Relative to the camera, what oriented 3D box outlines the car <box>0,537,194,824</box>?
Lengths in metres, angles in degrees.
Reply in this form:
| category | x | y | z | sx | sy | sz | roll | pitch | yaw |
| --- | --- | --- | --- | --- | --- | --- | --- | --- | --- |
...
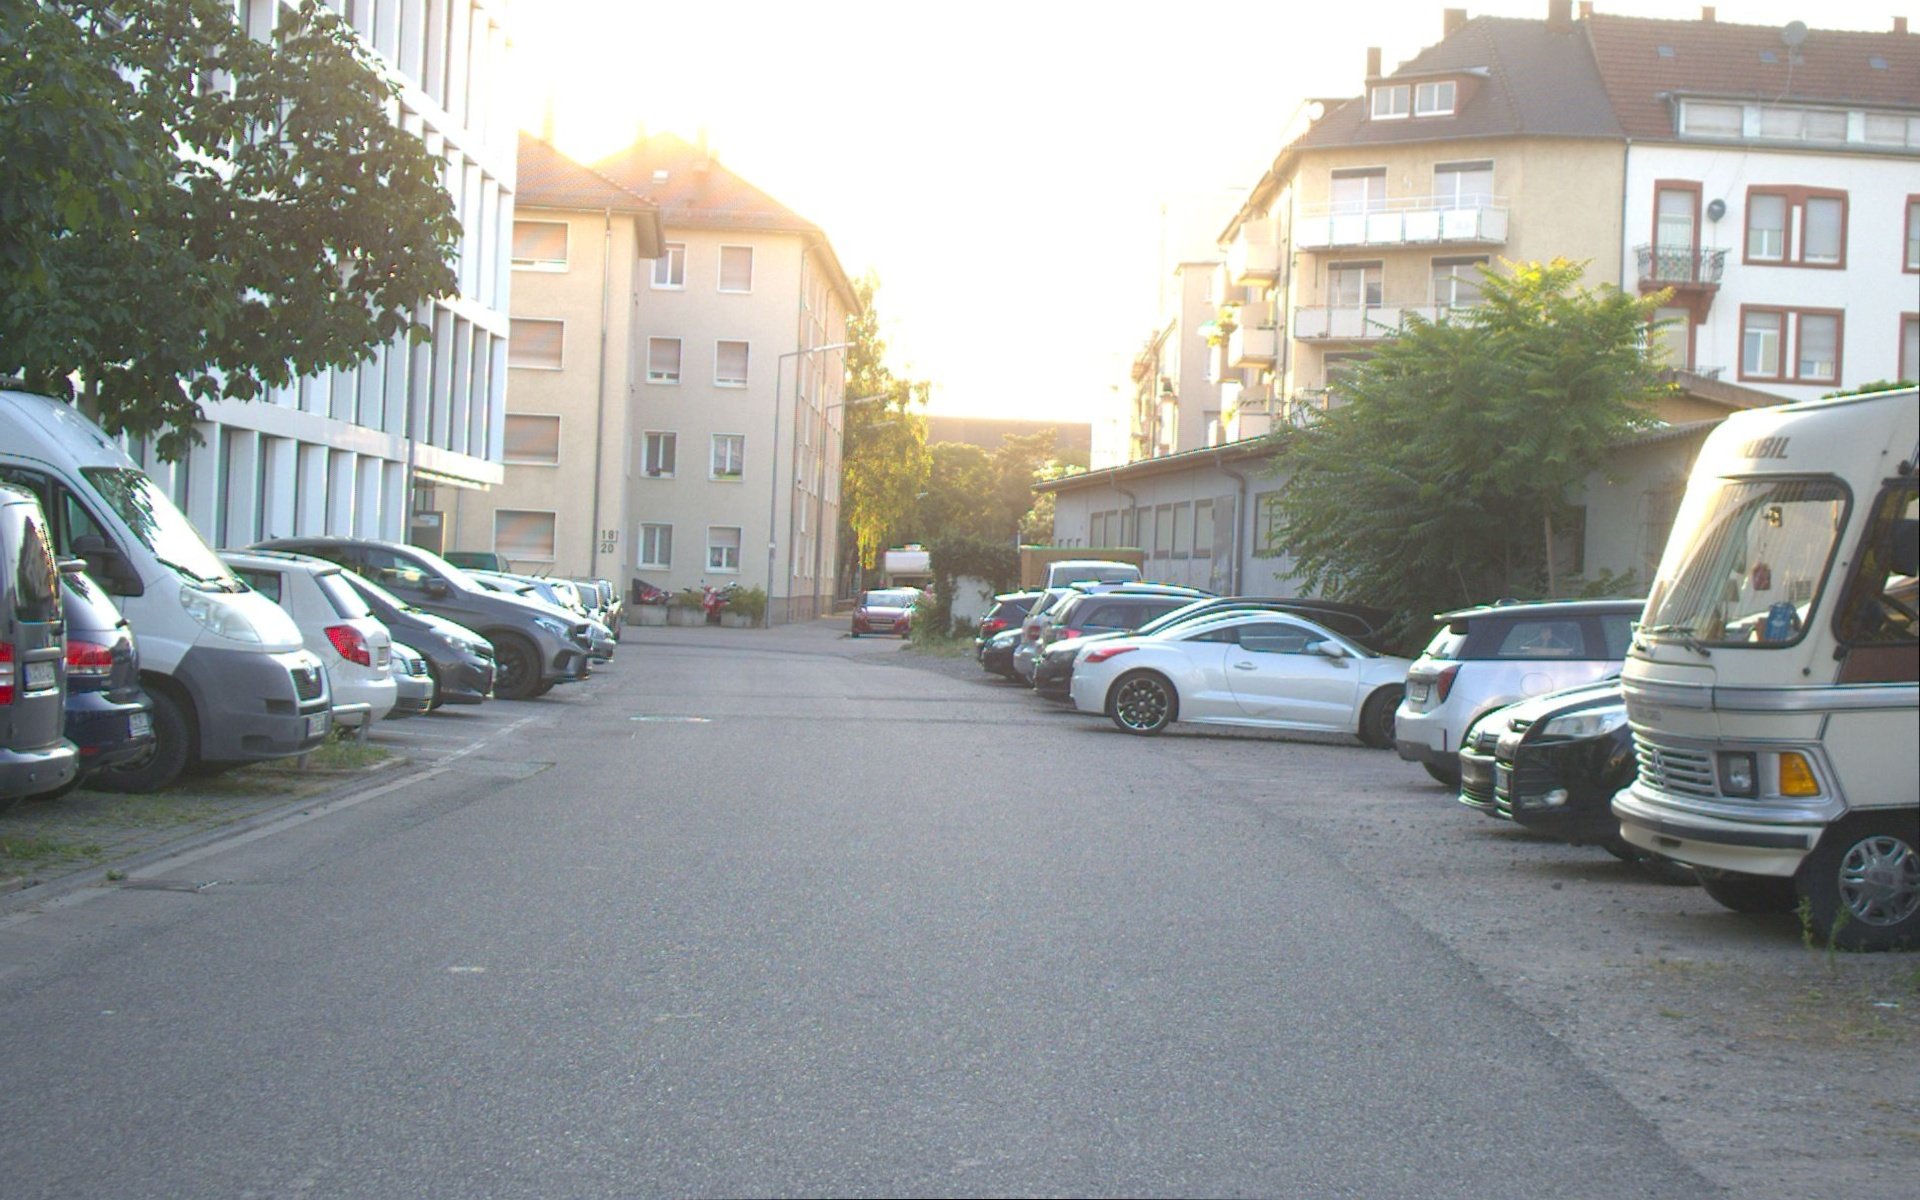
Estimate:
| category | x | y | z | sx | sy | sz | roll | pitch | yaw |
| --- | --- | --- | --- | --- | --- | --- | --- | --- | --- |
| car | -6.563 | 0.334 | 19.372 | 4.107 | 1.494 | 1.775 | 3 | 1 | -5 |

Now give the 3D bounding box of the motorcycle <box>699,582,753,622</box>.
| category | x | y | z | sx | sy | sz | roll | pitch | yaw |
| --- | --- | --- | --- | --- | --- | --- | --- | --- | --- |
| motorcycle | -7.158 | 0.058 | 105.189 | 0.689 | 1.156 | 2.031 | 2 | 0 | 25 |

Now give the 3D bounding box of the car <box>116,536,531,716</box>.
| category | x | y | z | sx | sy | sz | roll | pitch | yaw |
| --- | --- | --- | --- | --- | --- | --- | --- | --- | --- |
| car | -6.282 | 0.243 | 34.232 | 3.781 | 1.517 | 1.694 | 3 | 1 | -2 |

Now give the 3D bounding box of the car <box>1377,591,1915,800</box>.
| category | x | y | z | sx | sy | sz | roll | pitch | yaw |
| --- | --- | --- | --- | --- | --- | --- | --- | --- | --- |
| car | 5.221 | 0.715 | 26.451 | 3.704 | 1.474 | 1.712 | 1 | 0 | -4 |

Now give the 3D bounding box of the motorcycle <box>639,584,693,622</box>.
| category | x | y | z | sx | sy | sz | roll | pitch | yaw |
| --- | --- | --- | --- | --- | --- | --- | --- | --- | --- |
| motorcycle | -8.774 | 0.082 | 102.660 | 0.724 | 1.075 | 2.078 | 2 | 0 | 21 |

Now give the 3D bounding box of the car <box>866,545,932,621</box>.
| category | x | y | z | sx | sy | sz | roll | pitch | yaw |
| --- | --- | --- | --- | --- | --- | --- | --- | --- | --- |
| car | -2.657 | -0.740 | 152.684 | 2.620 | 3.258 | 7.696 | 1 | 0 | 1 |

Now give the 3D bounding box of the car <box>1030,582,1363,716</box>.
| category | x | y | z | sx | sy | sz | roll | pitch | yaw |
| --- | --- | --- | --- | --- | --- | --- | --- | --- | --- |
| car | 2.964 | 0.624 | 43.664 | 3.983 | 1.440 | 1.827 | 3 | -1 | -2 |

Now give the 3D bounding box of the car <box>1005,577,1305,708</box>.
| category | x | y | z | sx | sy | sz | roll | pitch | yaw |
| --- | --- | --- | --- | --- | --- | --- | --- | --- | --- |
| car | 2.739 | 0.590 | 48.941 | 3.983 | 1.604 | 1.939 | 3 | 0 | -4 |

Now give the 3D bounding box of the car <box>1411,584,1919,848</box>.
| category | x | y | z | sx | sy | sz | roll | pitch | yaw |
| --- | --- | --- | --- | --- | --- | --- | --- | --- | --- |
| car | 5.073 | 0.727 | 22.005 | 4.003 | 1.558 | 1.712 | 1 | 0 | -6 |

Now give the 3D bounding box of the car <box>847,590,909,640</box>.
| category | x | y | z | sx | sy | sz | roll | pitch | yaw |
| --- | --- | --- | --- | --- | --- | --- | --- | --- | --- |
| car | -2.542 | 0.448 | 107.120 | 1.845 | 1.468 | 4.078 | 2 | 0 | -1 |

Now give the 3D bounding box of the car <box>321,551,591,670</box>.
| category | x | y | z | sx | sy | sz | roll | pitch | yaw |
| --- | --- | --- | --- | --- | --- | --- | --- | --- | --- |
| car | -7.393 | 0.146 | 50.692 | 3.654 | 1.506 | 1.687 | 3 | 1 | 0 |

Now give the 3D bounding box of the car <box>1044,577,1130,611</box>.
| category | x | y | z | sx | sy | sz | roll | pitch | yaw |
| --- | --- | --- | --- | --- | --- | --- | --- | --- | --- |
| car | 5.974 | -0.297 | 162.565 | 3.987 | 1.525 | 1.659 | 1 | 0 | 0 |

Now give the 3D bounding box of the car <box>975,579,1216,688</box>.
| category | x | y | z | sx | sy | sz | roll | pitch | yaw |
| --- | --- | --- | --- | --- | --- | --- | --- | --- | --- |
| car | 2.180 | 0.531 | 56.198 | 3.759 | 1.530 | 1.891 | 3 | 1 | -1 |

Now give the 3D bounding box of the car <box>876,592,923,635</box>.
| category | x | y | z | sx | sy | sz | roll | pitch | yaw |
| --- | --- | --- | --- | --- | --- | --- | --- | --- | --- |
| car | -2.123 | 0.462 | 120.508 | 1.615 | 1.468 | 3.505 | 1 | 0 | -1 |

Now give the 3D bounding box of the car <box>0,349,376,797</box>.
| category | x | y | z | sx | sy | sz | roll | pitch | yaw |
| --- | --- | --- | --- | --- | --- | --- | --- | --- | --- |
| car | -6.690 | -0.278 | 22.051 | 5.381 | 2.624 | 2.078 | 3 | 1 | 1 |

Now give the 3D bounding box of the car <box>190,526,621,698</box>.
| category | x | y | z | sx | sy | sz | roll | pitch | yaw |
| --- | --- | --- | --- | --- | --- | --- | --- | --- | --- |
| car | -6.483 | 0.125 | 40.547 | 4.619 | 1.700 | 2.004 | 3 | 1 | 3 |

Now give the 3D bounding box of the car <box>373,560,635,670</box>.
| category | x | y | z | sx | sy | sz | roll | pitch | yaw |
| --- | --- | --- | --- | --- | --- | --- | --- | --- | --- |
| car | -7.333 | 0.231 | 55.555 | 3.926 | 1.506 | 1.687 | 3 | 1 | 0 |

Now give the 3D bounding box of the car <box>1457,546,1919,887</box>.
| category | x | y | z | sx | sy | sz | roll | pitch | yaw |
| --- | --- | --- | --- | --- | --- | --- | --- | --- | --- |
| car | 5.002 | 0.633 | 18.963 | 4.241 | 1.735 | 1.967 | 1 | 0 | 1 |

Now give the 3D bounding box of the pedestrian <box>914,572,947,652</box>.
| category | x | y | z | sx | sy | sz | roll | pitch | yaw |
| --- | --- | --- | --- | --- | --- | --- | --- | --- | --- |
| pedestrian | -0.750 | 0.308 | 87.321 | 0.555 | 2.007 | 0.575 | 2 | 0 | -31 |

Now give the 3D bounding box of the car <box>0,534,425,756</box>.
| category | x | y | z | sx | sy | sz | roll | pitch | yaw |
| --- | --- | --- | --- | --- | --- | --- | --- | --- | --- |
| car | -6.204 | 0.320 | 26.874 | 3.708 | 1.490 | 1.708 | 3 | 1 | -1 |

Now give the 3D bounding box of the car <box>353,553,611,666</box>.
| category | x | y | z | sx | sy | sz | roll | pitch | yaw |
| --- | --- | --- | --- | --- | --- | --- | --- | --- | --- |
| car | -7.337 | 0.132 | 52.996 | 3.654 | 1.506 | 1.687 | 3 | 1 | 0 |

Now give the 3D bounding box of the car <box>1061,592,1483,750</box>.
| category | x | y | z | sx | sy | sz | roll | pitch | yaw |
| --- | --- | --- | --- | --- | --- | --- | --- | --- | --- |
| car | 3.207 | 0.725 | 35.988 | 4.202 | 1.362 | 1.823 | 3 | 0 | 1 |

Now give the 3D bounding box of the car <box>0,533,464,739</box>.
| category | x | y | z | sx | sy | sz | roll | pitch | yaw |
| --- | --- | --- | --- | --- | --- | --- | --- | --- | --- |
| car | -6.598 | 0.280 | 29.614 | 4.308 | 1.490 | 1.795 | 3 | 1 | 1 |

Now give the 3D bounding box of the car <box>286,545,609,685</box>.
| category | x | y | z | sx | sy | sz | roll | pitch | yaw |
| --- | --- | --- | --- | --- | --- | --- | --- | --- | --- |
| car | -6.402 | 0.176 | 43.190 | 3.667 | 1.506 | 1.696 | 3 | 1 | 3 |

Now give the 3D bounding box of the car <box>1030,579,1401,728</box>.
| category | x | y | z | sx | sy | sz | roll | pitch | yaw |
| --- | --- | --- | --- | --- | --- | --- | --- | --- | --- |
| car | 3.019 | 0.638 | 41.230 | 4.202 | 1.498 | 1.890 | 3 | -1 | -1 |

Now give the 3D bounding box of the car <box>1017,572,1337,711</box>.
| category | x | y | z | sx | sy | sz | roll | pitch | yaw |
| --- | --- | --- | --- | --- | --- | --- | --- | --- | --- |
| car | 2.906 | 0.552 | 46.466 | 3.983 | 1.613 | 1.827 | 3 | 0 | -6 |

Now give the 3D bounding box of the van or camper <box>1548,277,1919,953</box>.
| category | x | y | z | sx | sy | sz | roll | pitch | yaw |
| --- | --- | --- | --- | --- | --- | --- | --- | --- | --- |
| van or camper | 5.915 | 0.116 | 16.023 | 5.779 | 2.854 | 2.487 | 1 | 0 | -4 |

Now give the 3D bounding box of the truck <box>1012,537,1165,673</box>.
| category | x | y | z | sx | sy | sz | roll | pitch | yaw |
| --- | --- | --- | --- | --- | --- | --- | --- | --- | --- |
| truck | 2.195 | 0.072 | 60.359 | 2.097 | 2.193 | 5.711 | 2 | 0 | -3 |

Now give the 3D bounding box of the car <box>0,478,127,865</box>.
| category | x | y | z | sx | sy | sz | roll | pitch | yaw |
| --- | --- | --- | --- | --- | --- | --- | --- | --- | --- |
| car | -6.390 | 0.212 | 16.948 | 4.107 | 1.811 | 1.816 | 3 | 1 | -5 |

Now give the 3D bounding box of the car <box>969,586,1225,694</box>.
| category | x | y | z | sx | sy | sz | roll | pitch | yaw |
| --- | --- | --- | --- | --- | --- | --- | --- | --- | --- |
| car | 2.115 | 0.617 | 53.758 | 3.759 | 1.439 | 1.845 | 3 | -1 | -4 |

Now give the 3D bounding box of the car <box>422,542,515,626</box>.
| category | x | y | z | sx | sy | sz | roll | pitch | yaw |
| --- | --- | --- | --- | --- | --- | --- | --- | --- | --- |
| car | -12.217 | -0.432 | 85.723 | 1.797 | 1.973 | 4.690 | 2 | 1 | -3 |
